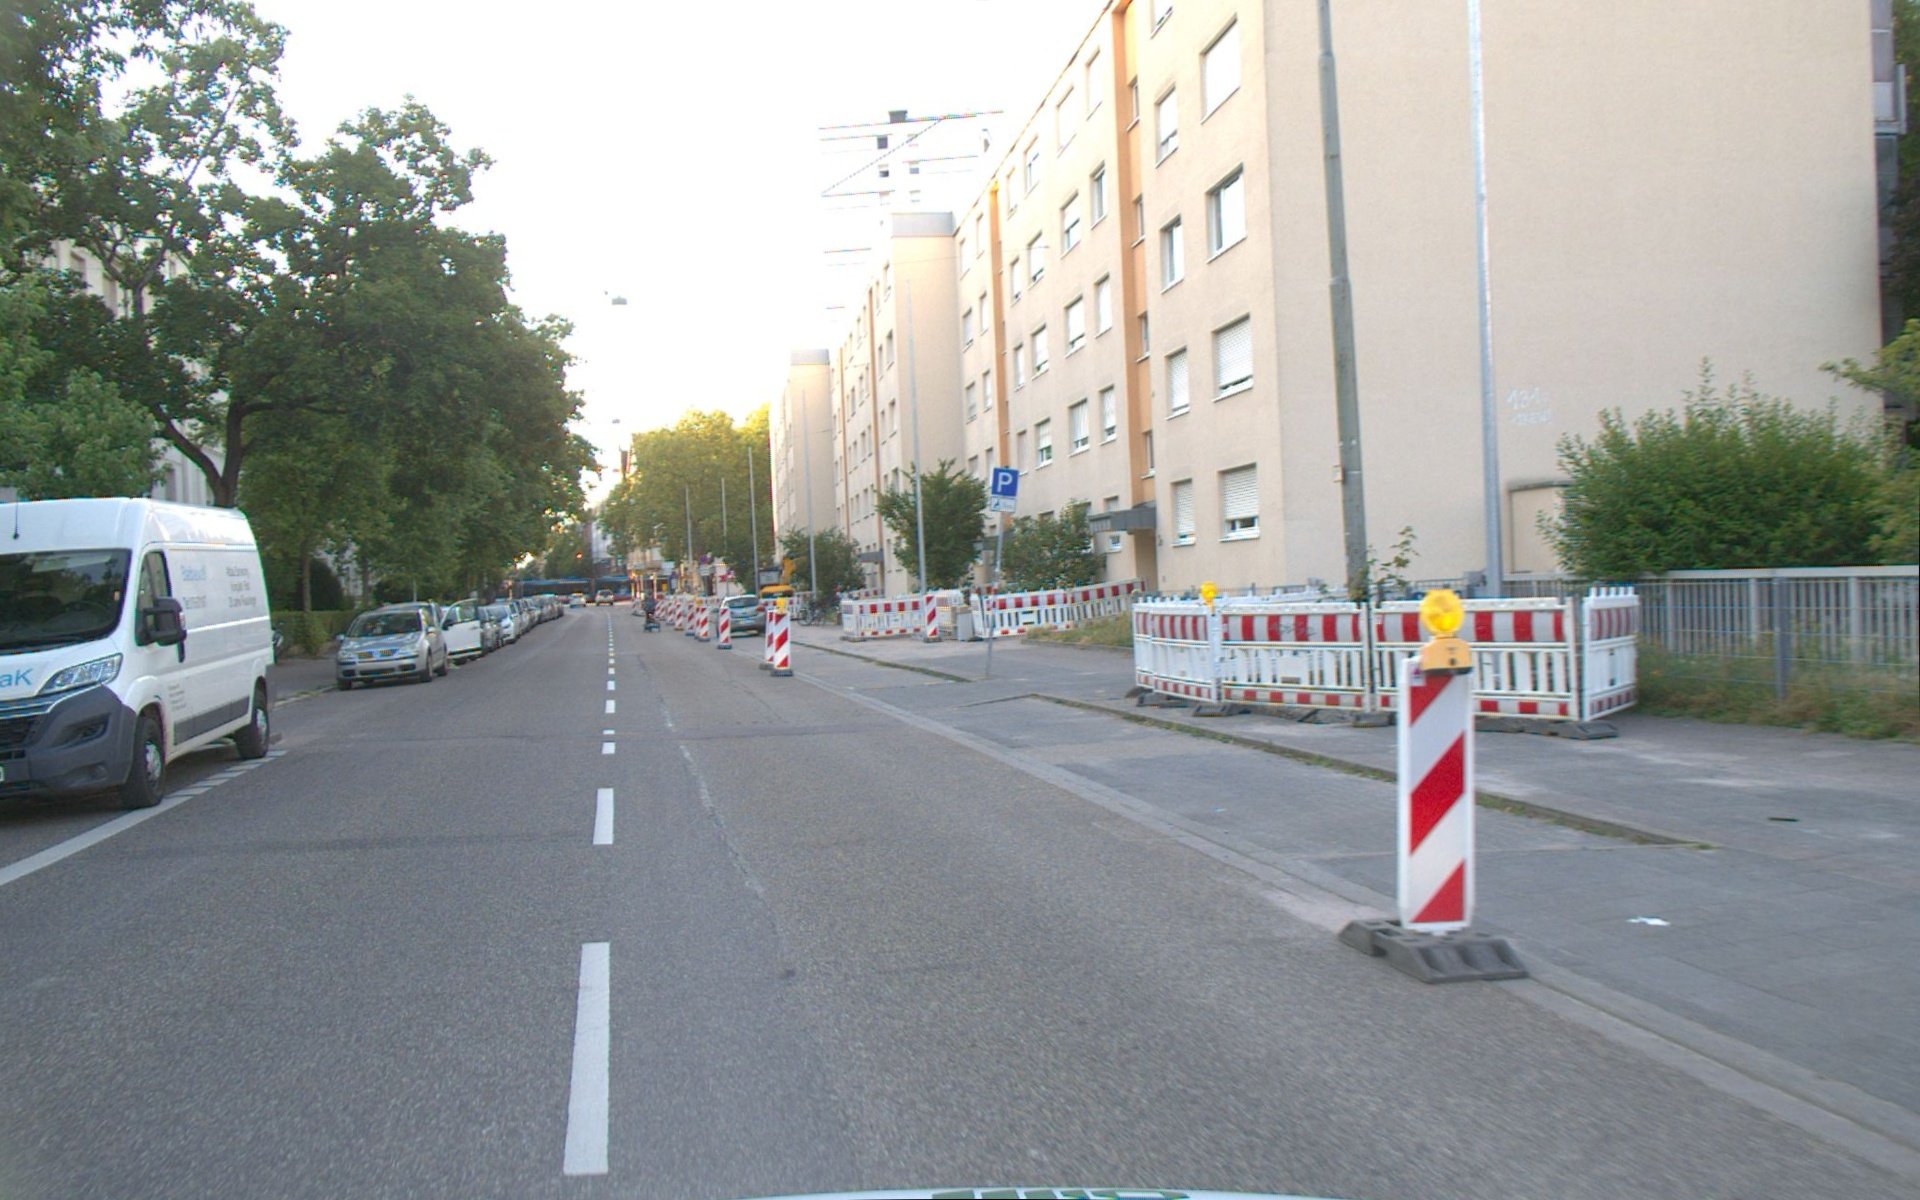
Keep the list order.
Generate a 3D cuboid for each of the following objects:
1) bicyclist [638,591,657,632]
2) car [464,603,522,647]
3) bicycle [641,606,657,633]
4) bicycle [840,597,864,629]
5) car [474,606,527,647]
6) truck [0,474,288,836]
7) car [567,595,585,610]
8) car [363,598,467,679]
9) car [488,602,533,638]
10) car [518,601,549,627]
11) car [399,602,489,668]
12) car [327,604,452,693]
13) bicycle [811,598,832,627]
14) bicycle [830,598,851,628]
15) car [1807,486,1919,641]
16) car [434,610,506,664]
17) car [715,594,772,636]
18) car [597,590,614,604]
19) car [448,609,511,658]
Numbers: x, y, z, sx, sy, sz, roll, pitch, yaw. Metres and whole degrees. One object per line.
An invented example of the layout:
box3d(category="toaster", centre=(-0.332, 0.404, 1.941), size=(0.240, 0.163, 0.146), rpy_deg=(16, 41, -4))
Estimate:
box3d(category="bicyclist", centre=(-14.166, 0.509, 74.953), size=(0.777, 1.831, 1.014), rpy_deg=(-3, 0, -12))
box3d(category="car", centre=(-17.656, 0.927, 62.688), size=(1.726, 1.467, 3.444), rpy_deg=(-5, 1, -12))
box3d(category="bicycle", centre=(-13.984, 0.865, 74.290), size=(0.630, 1.134, 3.046), rpy_deg=(-3, 0, -11))
box3d(category="bicycle", centre=(-4.012, 0.457, 61.174), size=(0.606, 1.126, 2.230), rpy_deg=(-3, 0, -10))
box3d(category="car", centre=(-18.852, 1.050, 67.960), size=(1.726, 1.467, 3.444), rpy_deg=(-5, 1, -12))
box3d(category="truck", centre=(-7.583, 0.418, 14.360), size=(2.065, 2.464, 6.027), rpy_deg=(-4, 1, -12))
box3d(category="car", centre=(-42.691, 0.253, 183.846), size=(1.727, 1.467, 3.441), rpy_deg=(-5, 1, -14))
box3d(category="car", centre=(-12.735, 0.859, 38.839), size=(1.726, 1.631, 3.916), rpy_deg=(-5, 1, -12))
box3d(category="car", centre=(-21.252, 0.924, 78.296), size=(1.726, 1.467, 3.444), rpy_deg=(-5, 1, -12))
box3d(category="car", centre=(-26.859, 0.865, 104.259), size=(1.624, 1.467, 3.444), rpy_deg=(-5, 1, -12))
box3d(category="car", centre=(-13.452, 0.873, 43.305), size=(1.726, 1.467, 3.916), rpy_deg=(-5, 1, -12))
box3d(category="car", centre=(-11.346, 0.909, 33.122), size=(1.726, 1.508, 3.916), rpy_deg=(-5, 1, -12))
box3d(category="bicycle", centre=(-5.578, 0.490, 66.676), size=(0.606, 1.126, 2.230), rpy_deg=(-3, 0, -10))
box3d(category="bicycle", centre=(-4.826, 0.512, 66.671), size=(0.606, 1.126, 2.230), rpy_deg=(-3, 0, -10))
box3d(category="car", centre=(12.306, -0.501, 19.031), size=(4.135, 1.675, 1.996), rpy_deg=(-3, 0, -9))
box3d(category="car", centre=(-15.608, 1.154, 52.813), size=(1.747, 1.448, 3.735), rpy_deg=(-6, 1, -12))
box3d(category="car", centre=(-8.074, 0.544, 61.395), size=(1.748, 1.414, 3.988), rpy_deg=(-3, 1, -12))
box3d(category="car", centre=(-41.236, -0.377, 192.233), size=(1.667, 1.467, 3.439), rpy_deg=(-5, 1, -15))
box3d(category="car", centre=(-16.768, 1.154, 57.842), size=(1.726, 1.467, 3.444), rpy_deg=(-5, 1, -12))
